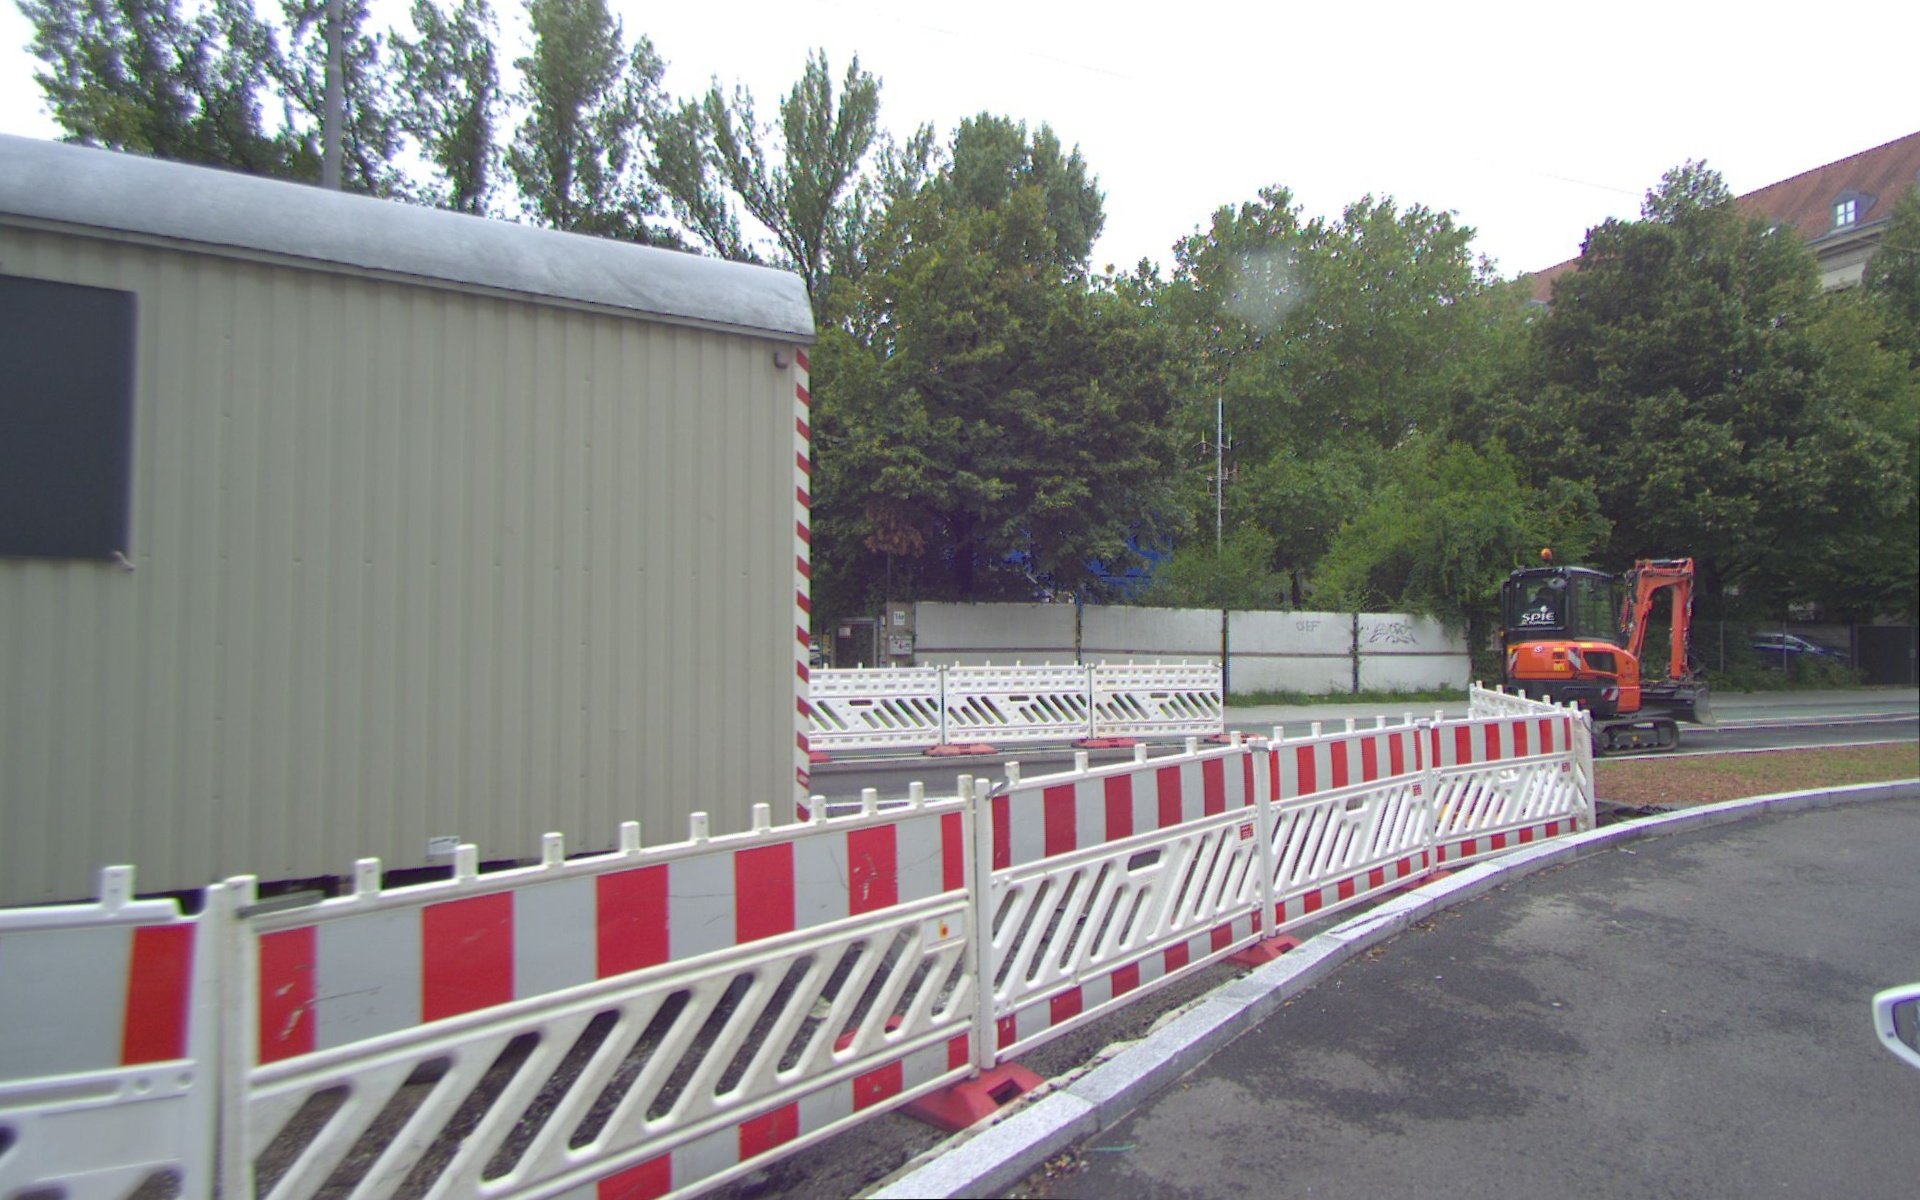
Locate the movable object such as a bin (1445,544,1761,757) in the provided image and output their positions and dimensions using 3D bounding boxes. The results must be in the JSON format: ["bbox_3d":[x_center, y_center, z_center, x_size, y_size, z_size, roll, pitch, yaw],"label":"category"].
[{"bbox_3d":[9.431,0.704,14.674,4.611,2.676,1.984,1,-2,-30],"label":"movable object such as a bin"}]

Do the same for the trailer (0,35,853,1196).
[{"bbox_3d":[-4.222,0.041,3.319,7.422,3.286,2.219,1,-2,-27],"label":"trailer"}]
